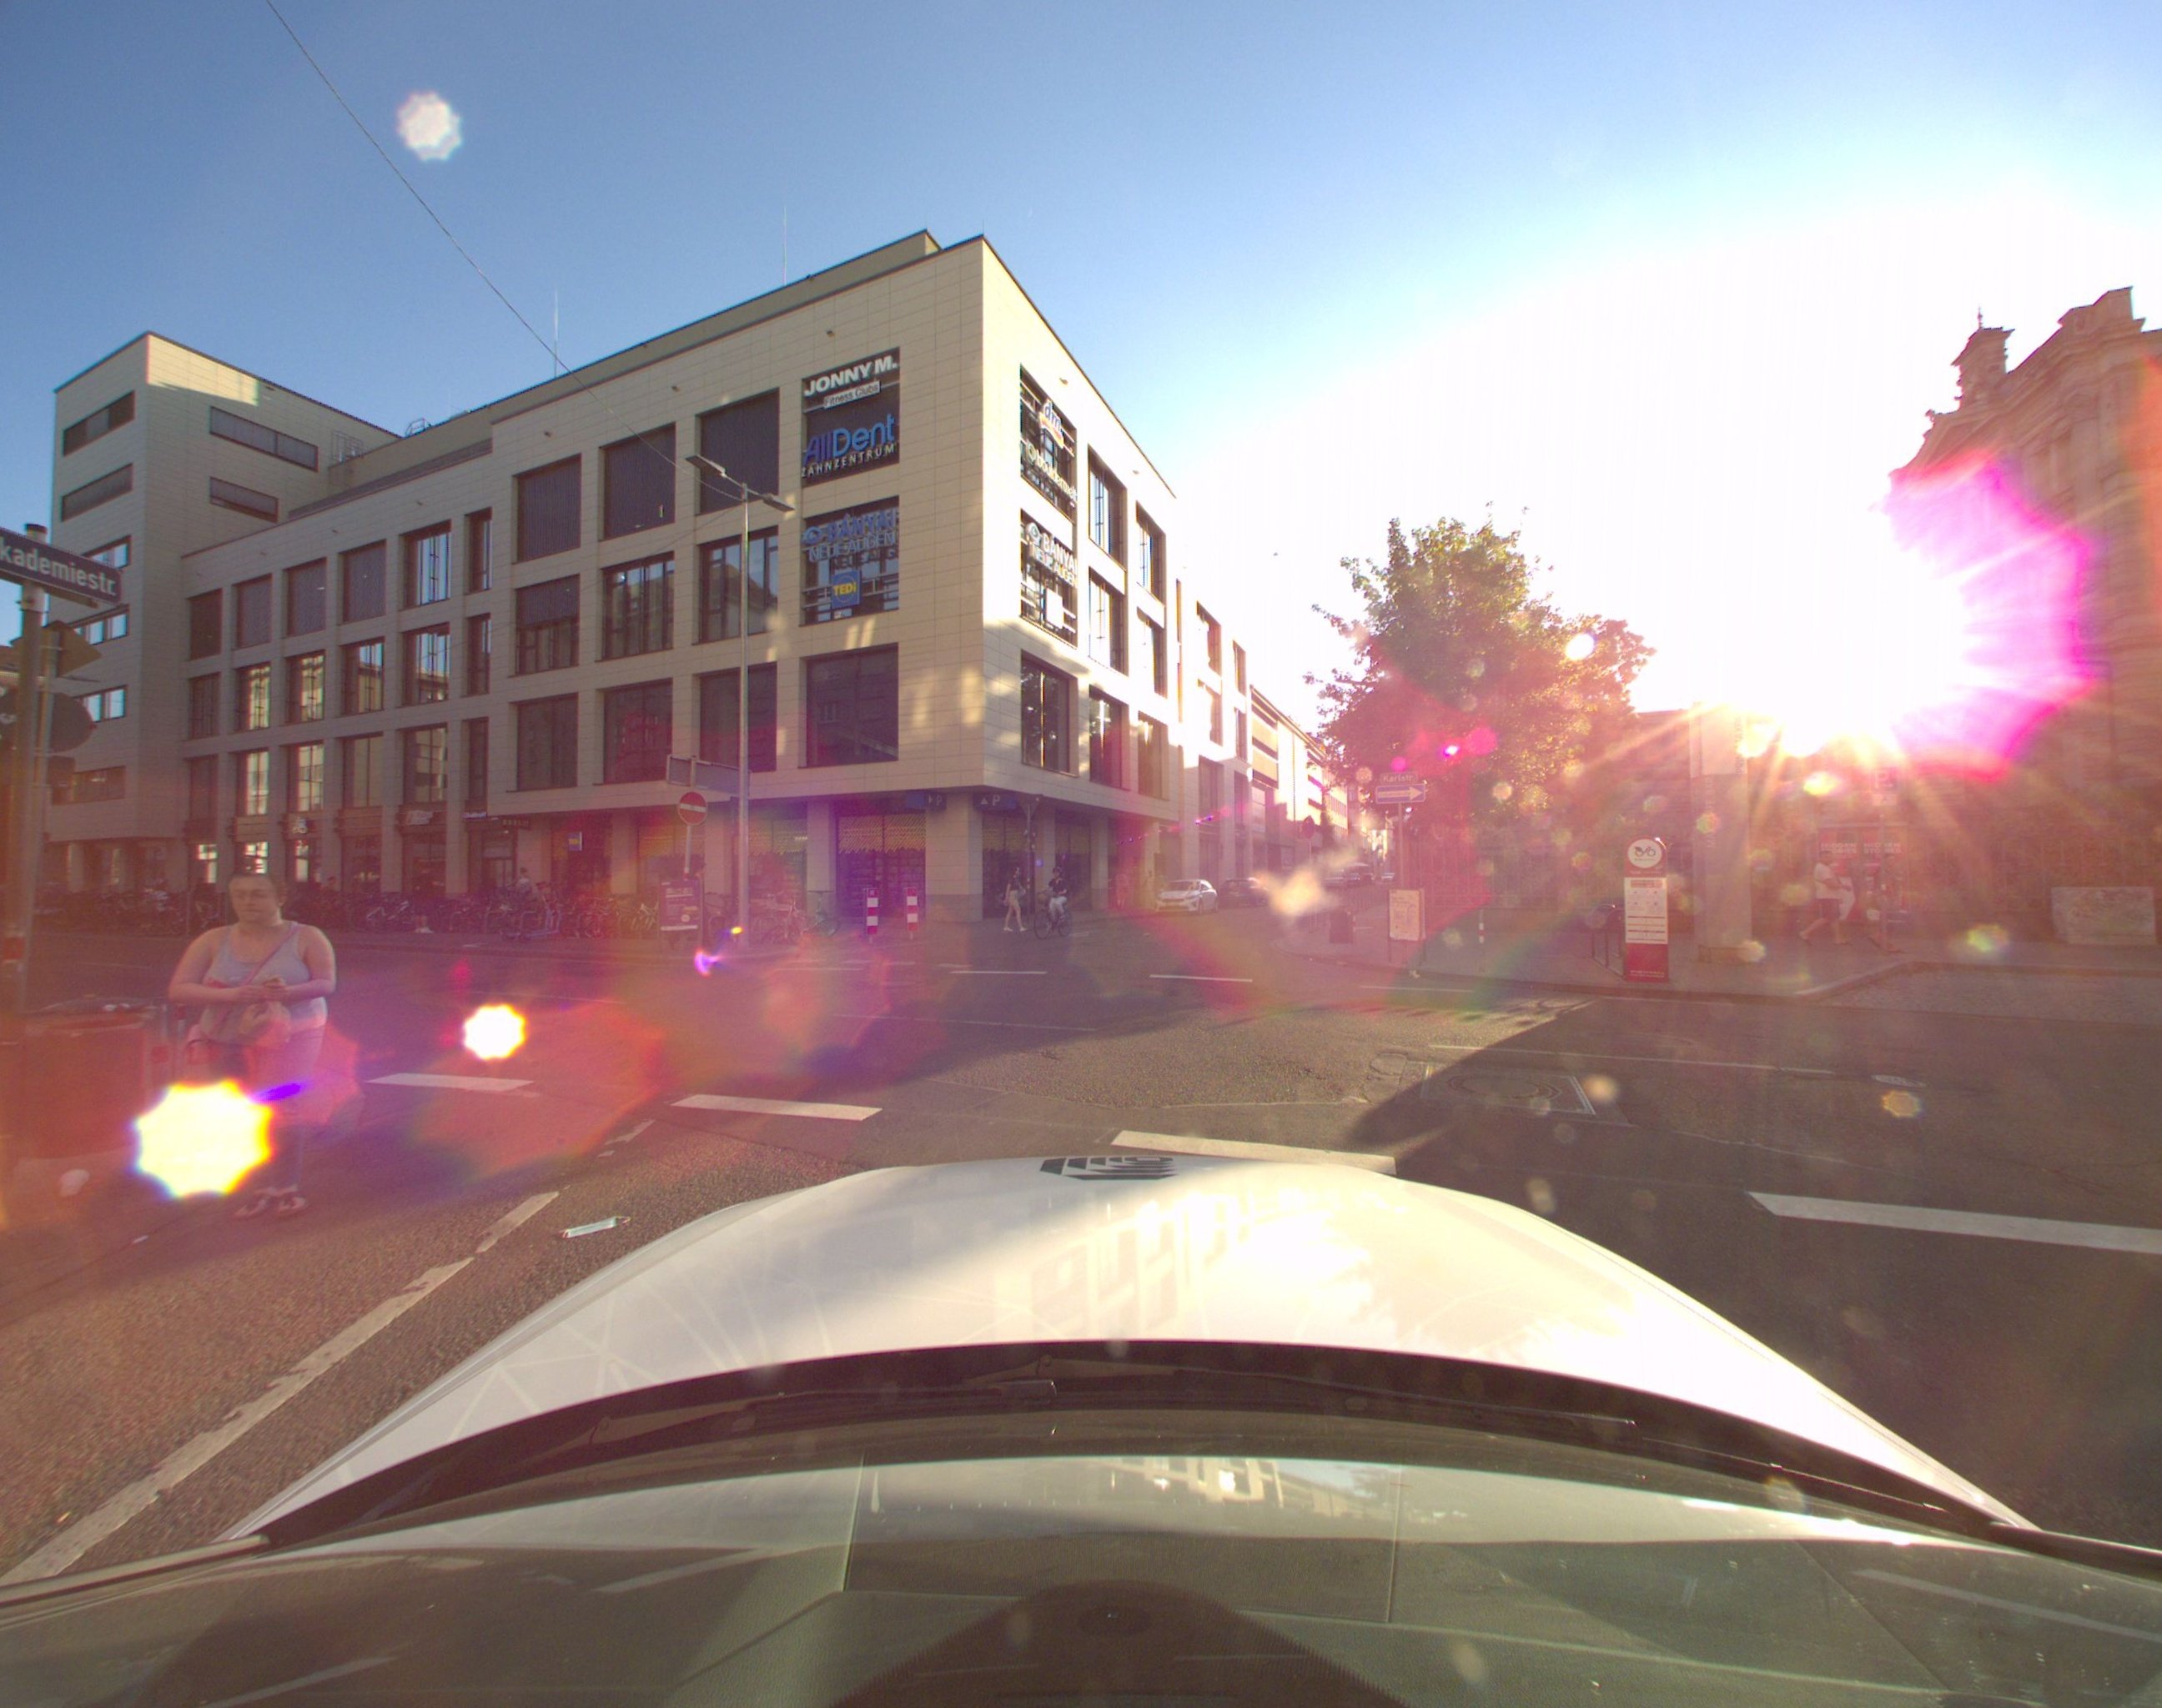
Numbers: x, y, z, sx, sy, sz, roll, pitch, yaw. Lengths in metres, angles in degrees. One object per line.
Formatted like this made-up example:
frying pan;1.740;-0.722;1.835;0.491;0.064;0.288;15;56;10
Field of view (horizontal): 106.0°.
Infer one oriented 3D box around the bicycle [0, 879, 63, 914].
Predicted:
bicycle;-39.980;1.589;30.663;0.508;1.255;1.987;0;-2;16

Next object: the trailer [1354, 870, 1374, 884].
trailer;33.208;2.717;95.592;1.976;1.557;4.021;0;-2;23

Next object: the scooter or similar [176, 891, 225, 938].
scooter or similar;-23.340;1.587;21.586;1.255;1.181;0.519;-1;-2;27

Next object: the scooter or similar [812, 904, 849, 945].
scooter or similar;-5.672;1.596;18.475;0.383;0.884;0.774;0;-2;23

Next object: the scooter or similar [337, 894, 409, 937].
scooter or similar;-17.555;1.510;20.207;0.383;0.992;1.277;0;-2;23

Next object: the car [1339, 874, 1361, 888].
car;28.662;2.850;86.688;1.867;1.453;4.021;-1;-1;23

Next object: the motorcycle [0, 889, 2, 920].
motorcycle;-43.867;2.014;31.795;0.508;1.255;1.987;0;-2;16

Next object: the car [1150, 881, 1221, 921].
car;4.268;1.839;32.682;1.762;1.453;4.253;-1;-1;23

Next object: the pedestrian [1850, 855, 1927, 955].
pedestrian;13.761;0.849;13.898;0.699;1.670;0.644;0;0;10

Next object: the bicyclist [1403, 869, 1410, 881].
bicyclist;48.967;3.132;122.545;0.981;1.869;0.712;-1;-2;26

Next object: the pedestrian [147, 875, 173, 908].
pedestrian;-48.225;1.946;42.644;0.636;1.695;0.688;0;-2;23

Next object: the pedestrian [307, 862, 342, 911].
pedestrian;-26.945;1.143;29.013;0.636;1.695;0.688;0;-2;23

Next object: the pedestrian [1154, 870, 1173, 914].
pedestrian;3.515;1.603;34.584;0.666;1.837;0.651;0;-2;22

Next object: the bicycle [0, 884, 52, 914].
bicycle;-45.200;1.892;34.451;0.508;1.255;1.987;0;-2;16

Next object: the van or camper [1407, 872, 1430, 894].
van or camper;43.284;3.701;104.341;2.237;2.608;5.140;-5;-4;24

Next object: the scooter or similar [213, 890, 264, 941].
scooter or similar;-21.509;1.559;20.786;1.255;1.243;0.519;-1;-2;27

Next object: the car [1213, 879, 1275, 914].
car;8.241;2.071;40.891;1.866;1.598;4.716;-1;-1;26

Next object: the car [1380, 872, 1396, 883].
car;49.121;3.818;130.287;1.975;1.684;4.022;0;-2;25

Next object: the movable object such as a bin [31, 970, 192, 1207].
movable object such as a bin;-4.859;1.146;4.101;0.360;1.064;0.354;0;-2;-17

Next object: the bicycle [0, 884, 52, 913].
bicycle;-46.335;1.932;35.358;0.508;1.255;1.987;0;-2;16

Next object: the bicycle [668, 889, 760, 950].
bicycle;-8.020;1.401;17.907;0.507;1.255;1.989;0;-2;23

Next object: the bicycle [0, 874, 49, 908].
bicycle;-41.009;1.407;31.029;0.508;1.255;1.987;0;-2;16

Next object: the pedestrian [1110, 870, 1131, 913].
pedestrian;1.617;1.527;33.354;0.666;1.745;0.651;-1;-2;24

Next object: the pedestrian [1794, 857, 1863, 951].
pedestrian;13.654;0.895;14.890;0.699;1.670;0.644;0;0;10

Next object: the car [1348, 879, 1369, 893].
car;31.348;3.586;91.917;1.867;1.453;4.021;-1;-1;23

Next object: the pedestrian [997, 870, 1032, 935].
pedestrian;-1.793;1.290;22.062;0.639;1.723;0.837;1;-2;-31

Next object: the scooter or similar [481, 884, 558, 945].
scooter or similar;-11.681;1.237;16.980;0.383;1.212;1.277;0;-2;23

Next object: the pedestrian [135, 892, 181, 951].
pedestrian;-27.410;1.975;24.189;0.636;1.695;0.688;0;-2;23

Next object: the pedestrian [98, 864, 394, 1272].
pedestrian;-3.769;0.859;3.776;0.808;1.613;0.726;1;-2;-36

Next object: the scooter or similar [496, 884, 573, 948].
scooter or similar;-11.175;1.242;16.692;0.383;1.260;1.277;0;-2;23

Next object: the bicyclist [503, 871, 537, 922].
bicyclist;-18.979;1.421;27.562;0.636;1.695;0.688;-1;-2;24

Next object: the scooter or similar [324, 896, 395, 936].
scooter or similar;-18.150;1.549;20.518;0.383;0.942;1.277;0;-2;23

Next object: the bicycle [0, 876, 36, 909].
bicycle;-41.718;1.469;31.203;0.508;1.255;1.987;0;-2;16

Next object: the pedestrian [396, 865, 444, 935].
pedestrian;-16.505;1.135;20.337;0.636;1.695;0.688;-1;-2;27

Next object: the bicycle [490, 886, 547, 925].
bicycle;-19.075;1.735;27.600;1.955;1.255;0.616;0;-2;23

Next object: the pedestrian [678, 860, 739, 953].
pedestrian;-6.814;0.940;14.920;0.870;1.658;0.616;1;-2;-12

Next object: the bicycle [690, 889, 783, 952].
bicycle;-7.368;1.386;17.532;0.507;1.255;1.990;0;-2;25

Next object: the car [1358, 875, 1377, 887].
car;34.958;3.300;99.285;1.867;1.453;4.021;-1;-1;23

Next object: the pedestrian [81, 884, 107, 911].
pedestrian;-52.527;2.306;43.329;0.636;1.425;0.688;0;-2;23

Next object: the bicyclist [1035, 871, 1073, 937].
bicyclist;-0.655;1.208;20.017;0.652;1.571;0.867;0;-2;20

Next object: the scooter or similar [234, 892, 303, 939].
scooter or similar;-22.471;1.674;22.546;0.383;1.243;1.277;0;-2;23

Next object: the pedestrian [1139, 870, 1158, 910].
pedestrian;2.886;1.544;34.839;0.666;1.675;0.651;0;-2;22

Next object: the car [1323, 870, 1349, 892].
car;23.912;2.496;76.168;1.867;1.912;4.773;-1;-1;23

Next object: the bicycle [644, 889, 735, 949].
bicycle;-8.725;1.415;18.238;0.507;1.255;1.989;0;-2;22

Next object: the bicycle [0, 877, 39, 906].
bicycle;-47.419;1.643;35.743;0.508;1.255;1.987;0;-2;16
